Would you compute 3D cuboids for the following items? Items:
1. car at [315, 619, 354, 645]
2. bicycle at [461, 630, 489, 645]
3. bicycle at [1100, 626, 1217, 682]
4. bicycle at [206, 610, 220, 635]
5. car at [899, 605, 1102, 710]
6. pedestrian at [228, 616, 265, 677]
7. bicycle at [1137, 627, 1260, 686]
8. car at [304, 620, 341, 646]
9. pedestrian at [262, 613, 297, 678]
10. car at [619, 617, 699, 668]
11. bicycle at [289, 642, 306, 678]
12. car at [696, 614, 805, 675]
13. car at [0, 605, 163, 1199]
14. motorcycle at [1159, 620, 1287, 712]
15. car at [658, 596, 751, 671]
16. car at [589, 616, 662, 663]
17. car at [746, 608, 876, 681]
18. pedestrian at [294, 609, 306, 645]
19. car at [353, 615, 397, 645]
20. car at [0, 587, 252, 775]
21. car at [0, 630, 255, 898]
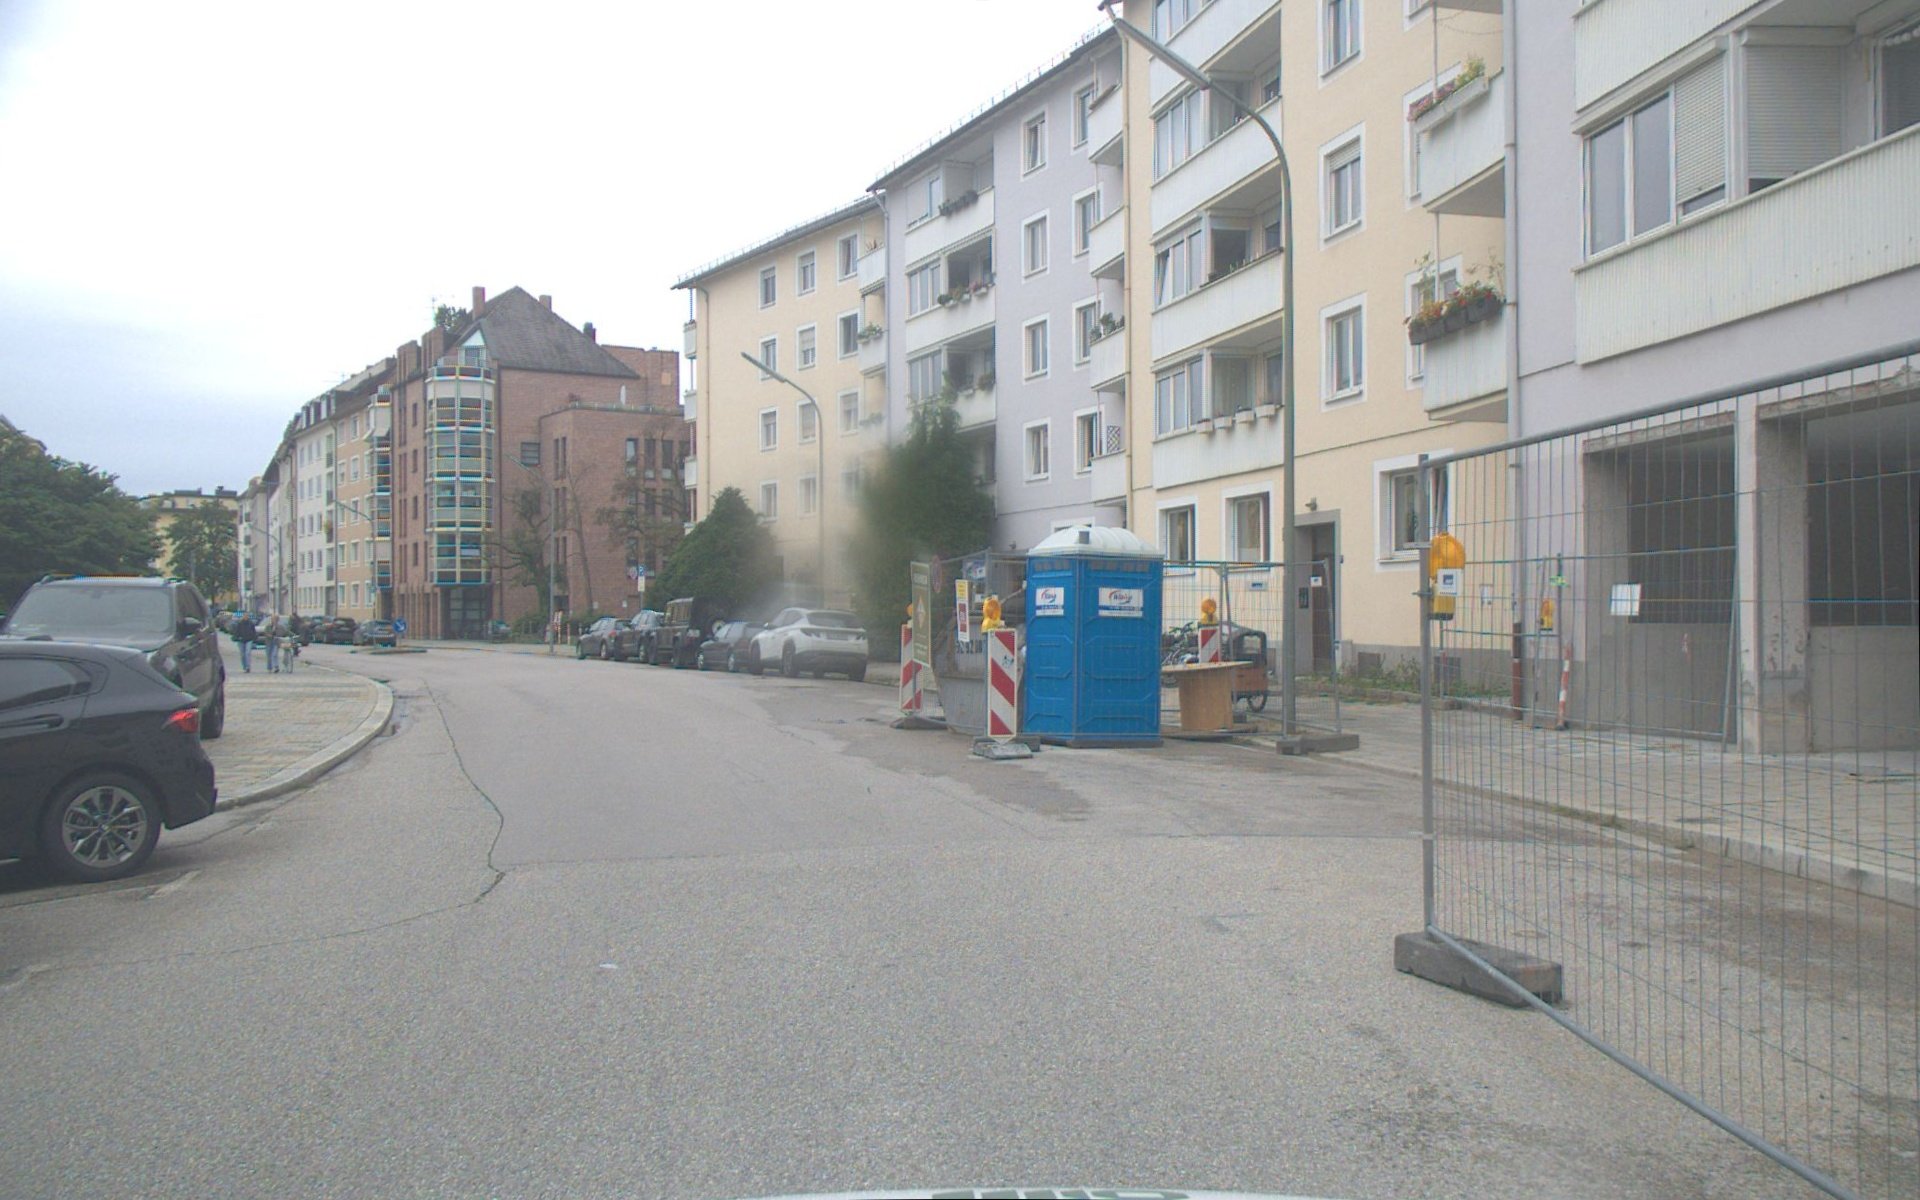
[{"bbox_3d":[-36.691,1.873,96.984,1.616,1.509,3.573,0,-1,-30],"label":"car"},{"bbox_3d":[-28.418,2.190,96.897,1.091,0.869,1.708,0,-1,-33],"label":"bicycle"},{"bbox_3d":[4.034,1.083,33.646,2.196,1.088,0.916,0,0,-16],"label":"bicycle"},{"bbox_3d":[-67.774,2.070,150.021,1.013,2.049,3.253,0,-5,-26],"label":"bicycle"},{"bbox_3d":[0.521,0.839,25.727,1.754,1.464,4.257,-1,0,-20],"label":"car"},{"bbox_3d":[-20.001,1.291,46.374,0.747,1.658,0.918,-1,-1,-10],"label":"pedestrian"},{"bbox_3d":[4.639,1.083,32.235,2.196,1.088,0.916,0,0,-16],"label":"bicycle"},{"bbox_3d":[-39.116,1.996,101.402,1.616,1.509,3.573,0,0,-30],"label":"car"},{"bbox_3d":[-19.180,1.265,46.652,0.722,1.799,0.918,-1,-1,-10],"label":"pedestrian"},{"bbox_3d":[-9.631,1.328,52.740,1.757,1.537,3.693,0,-1,-23],"label":"car"},{"bbox_3d":[-18.750,1.687,46.812,0.383,0.986,1.705,-1,0,-20],"label":"bicycle"},{"bbox_3d":[-5.585,1.147,43.760,1.760,1.545,3.687,1,-1,-27],"label":"car"},{"bbox_3d":[-2.590,0.774,0.865,1.880,1.436,4.705,-3,0,2],"label":"car"},{"bbox_3d":[3.811,0.930,24.241,0.916,1.242,2.497,0,0,-15],"label":"motorcycle"},{"bbox_3d":[-7.419,0.962,47.779,1.757,2.011,3.693,-2,0,-23],"label":"car"},{"bbox_3d":[-11.519,1.340,56.768,1.757,1.537,3.693,-1,0,-23],"label":"car"},{"bbox_3d":[-3.582,1.010,39.151,1.808,1.601,3.967,0,0,-26],"label":"car"},{"bbox_3d":[-27.480,1.136,68.840,0.455,1.486,0.440,0,-2,-20],"label":"pedestrian"},{"bbox_3d":[-31.210,1.583,88.196,1.616,1.509,3.573,0,0,-30],"label":"car"},{"bbox_3d":[-9.204,0.804,18.029,2.018,1.766,4.866,0,-1,-15],"label":"car"},{"bbox_3d":[-6.483,1.022,9.653,3.966,1.445,1.786,-3,0,-43],"label":"car"}]
